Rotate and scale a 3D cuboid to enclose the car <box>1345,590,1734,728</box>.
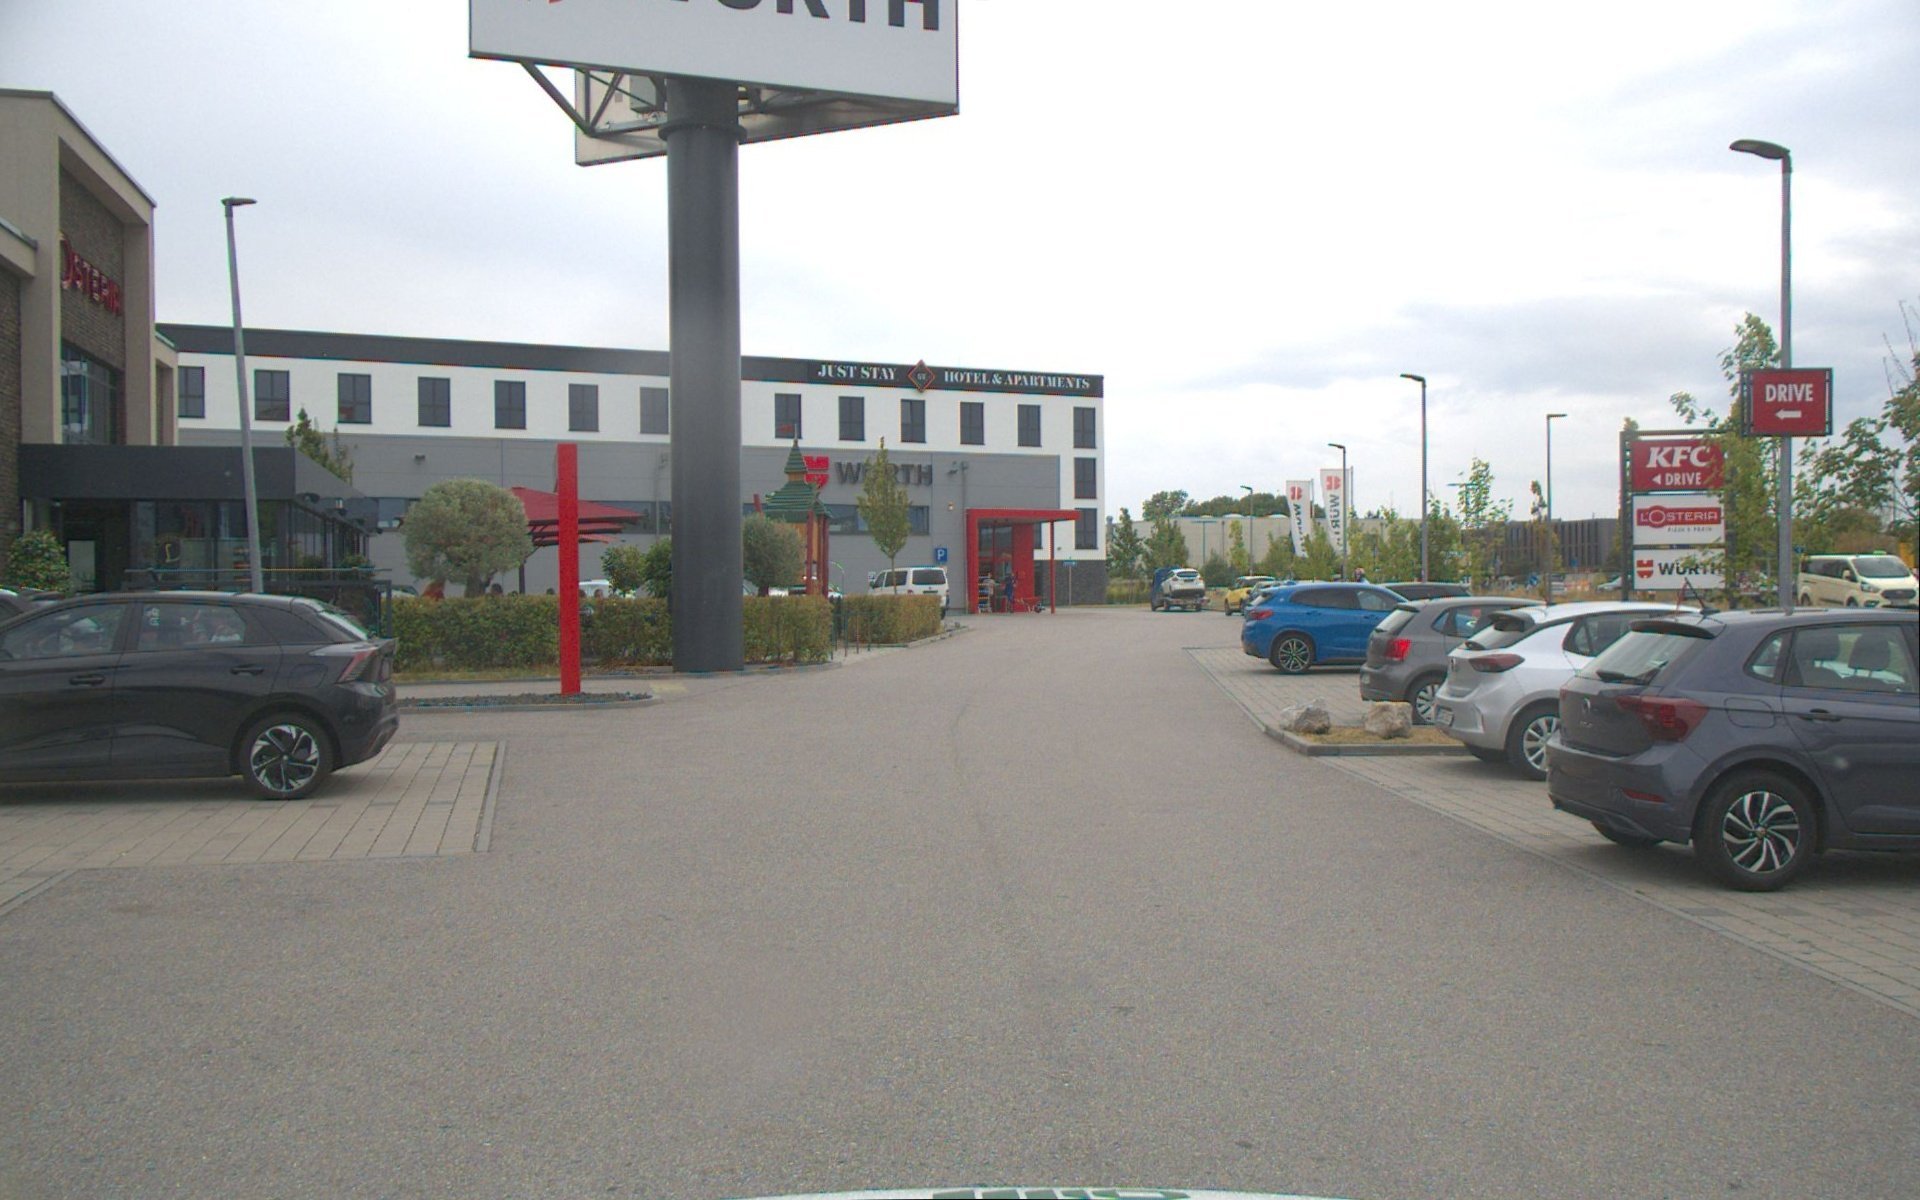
[{"bbox_3d":[6.541,0.635,19.011,3.903,1.453,1.728,1,1,4],"label":"car"}]

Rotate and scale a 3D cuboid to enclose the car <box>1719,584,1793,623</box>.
[{"bbox_3d":[29.335,0.095,61.052,1.430,1.360,3.165,-1,1,5],"label":"car"}]

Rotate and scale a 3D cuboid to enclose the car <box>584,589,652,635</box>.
[{"bbox_3d":[-12.710,0.442,61.361,1.712,1.579,4.235,-3,0,-22],"label":"car"}]

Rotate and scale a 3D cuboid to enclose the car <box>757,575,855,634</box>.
[{"bbox_3d":[-4.863,0.147,51.698,1.964,1.679,4.552,-3,0,-19],"label":"car"}]

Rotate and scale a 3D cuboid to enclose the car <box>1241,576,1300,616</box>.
[{"bbox_3d":[12.273,-0.178,65.503,1.715,1.495,4.109,0,1,2],"label":"car"}]

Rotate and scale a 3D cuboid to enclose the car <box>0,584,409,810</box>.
[{"bbox_3d":[-6.329,0.669,12.400,4.041,1.555,1.735,0,0,-15],"label":"car"}]

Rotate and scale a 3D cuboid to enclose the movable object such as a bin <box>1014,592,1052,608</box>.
[{"bbox_3d":[3.226,0.001,73.577,1.465,0.716,0.960,0,0,-18],"label":"movable object such as a bin"}]

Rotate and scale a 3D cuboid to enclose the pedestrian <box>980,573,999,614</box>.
[{"bbox_3d":[1.307,-0.287,73.343,0.613,1.782,0.902,-1,0,-12],"label":"pedestrian"}]

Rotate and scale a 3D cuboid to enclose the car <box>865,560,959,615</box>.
[{"bbox_3d":[-1.913,-0.473,65.060,2.032,1.887,4.024,-5,2,-28],"label":"car"}]

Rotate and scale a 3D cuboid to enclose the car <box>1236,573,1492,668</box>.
[{"bbox_3d":[6.961,0.337,28.850,4.113,1.571,1.866,-1,1,6],"label":"car"}]

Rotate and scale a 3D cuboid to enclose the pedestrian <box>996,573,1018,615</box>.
[{"bbox_3d":[2.094,-0.276,73.335,0.666,1.834,0.876,1,1,-17],"label":"pedestrian"}]

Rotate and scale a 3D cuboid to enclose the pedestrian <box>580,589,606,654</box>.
[{"bbox_3d":[-7.000,0.411,31.572,0.412,1.220,0.456,-2,0,-10],"label":"pedestrian"}]

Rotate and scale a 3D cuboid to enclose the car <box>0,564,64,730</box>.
[{"bbox_3d":[-11.376,0.549,16.556,3.929,1.623,1.726,-3,0,-20],"label":"car"}]

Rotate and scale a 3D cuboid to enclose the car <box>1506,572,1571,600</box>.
[{"bbox_3d":[35.461,-0.854,101.432,1.762,1.579,4.847,-2,0,-7],"label":"car"}]

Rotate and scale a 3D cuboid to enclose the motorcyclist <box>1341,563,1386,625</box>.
[{"bbox_3d":[10.024,-0.153,41.094,0.919,1.515,0.831,-1,0,2],"label":"motorcyclist"}]

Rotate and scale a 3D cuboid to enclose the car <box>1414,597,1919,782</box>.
[{"bbox_3d":[6.116,0.727,14.377,3.845,1.437,1.840,1,0,1],"label":"car"}]

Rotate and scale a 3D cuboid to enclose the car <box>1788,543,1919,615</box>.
[{"bbox_3d":[28.572,-0.698,52.861,1.951,2.122,5.234,-1,1,5],"label":"car"}]

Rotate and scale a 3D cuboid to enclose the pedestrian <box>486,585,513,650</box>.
[{"bbox_3d":[-8.792,0.335,31.574,0.412,1.220,0.456,-2,0,-10],"label":"pedestrian"}]

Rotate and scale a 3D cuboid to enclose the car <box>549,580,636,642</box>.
[{"bbox_3d":[-10.955,0.325,49.091,1.964,1.679,4.552,-3,0,-19],"label":"car"}]

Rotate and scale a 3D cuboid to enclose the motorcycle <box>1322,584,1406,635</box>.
[{"bbox_3d":[10.023,0.230,41.100,1.875,1.229,0.795,-1,0,2],"label":"motorcycle"}]

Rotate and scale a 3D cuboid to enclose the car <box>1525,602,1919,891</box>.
[{"bbox_3d":[5.349,0.769,9.336,3.718,1.437,1.738,1,0,0],"label":"car"}]

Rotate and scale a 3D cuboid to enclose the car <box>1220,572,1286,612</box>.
[{"bbox_3d":[12.705,-0.345,71.896,1.821,1.679,3.995,0,0,-6],"label":"car"}]

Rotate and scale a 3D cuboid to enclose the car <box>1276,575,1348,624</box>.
[{"bbox_3d":[11.338,-0.048,53.514,1.714,1.495,4.479,0,1,4],"label":"car"}]

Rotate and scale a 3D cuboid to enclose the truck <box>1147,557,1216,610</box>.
[{"bbox_3d":[11.757,-0.806,88.471,2.285,2.449,7.890,0,-2,-3],"label":"truck"}]
